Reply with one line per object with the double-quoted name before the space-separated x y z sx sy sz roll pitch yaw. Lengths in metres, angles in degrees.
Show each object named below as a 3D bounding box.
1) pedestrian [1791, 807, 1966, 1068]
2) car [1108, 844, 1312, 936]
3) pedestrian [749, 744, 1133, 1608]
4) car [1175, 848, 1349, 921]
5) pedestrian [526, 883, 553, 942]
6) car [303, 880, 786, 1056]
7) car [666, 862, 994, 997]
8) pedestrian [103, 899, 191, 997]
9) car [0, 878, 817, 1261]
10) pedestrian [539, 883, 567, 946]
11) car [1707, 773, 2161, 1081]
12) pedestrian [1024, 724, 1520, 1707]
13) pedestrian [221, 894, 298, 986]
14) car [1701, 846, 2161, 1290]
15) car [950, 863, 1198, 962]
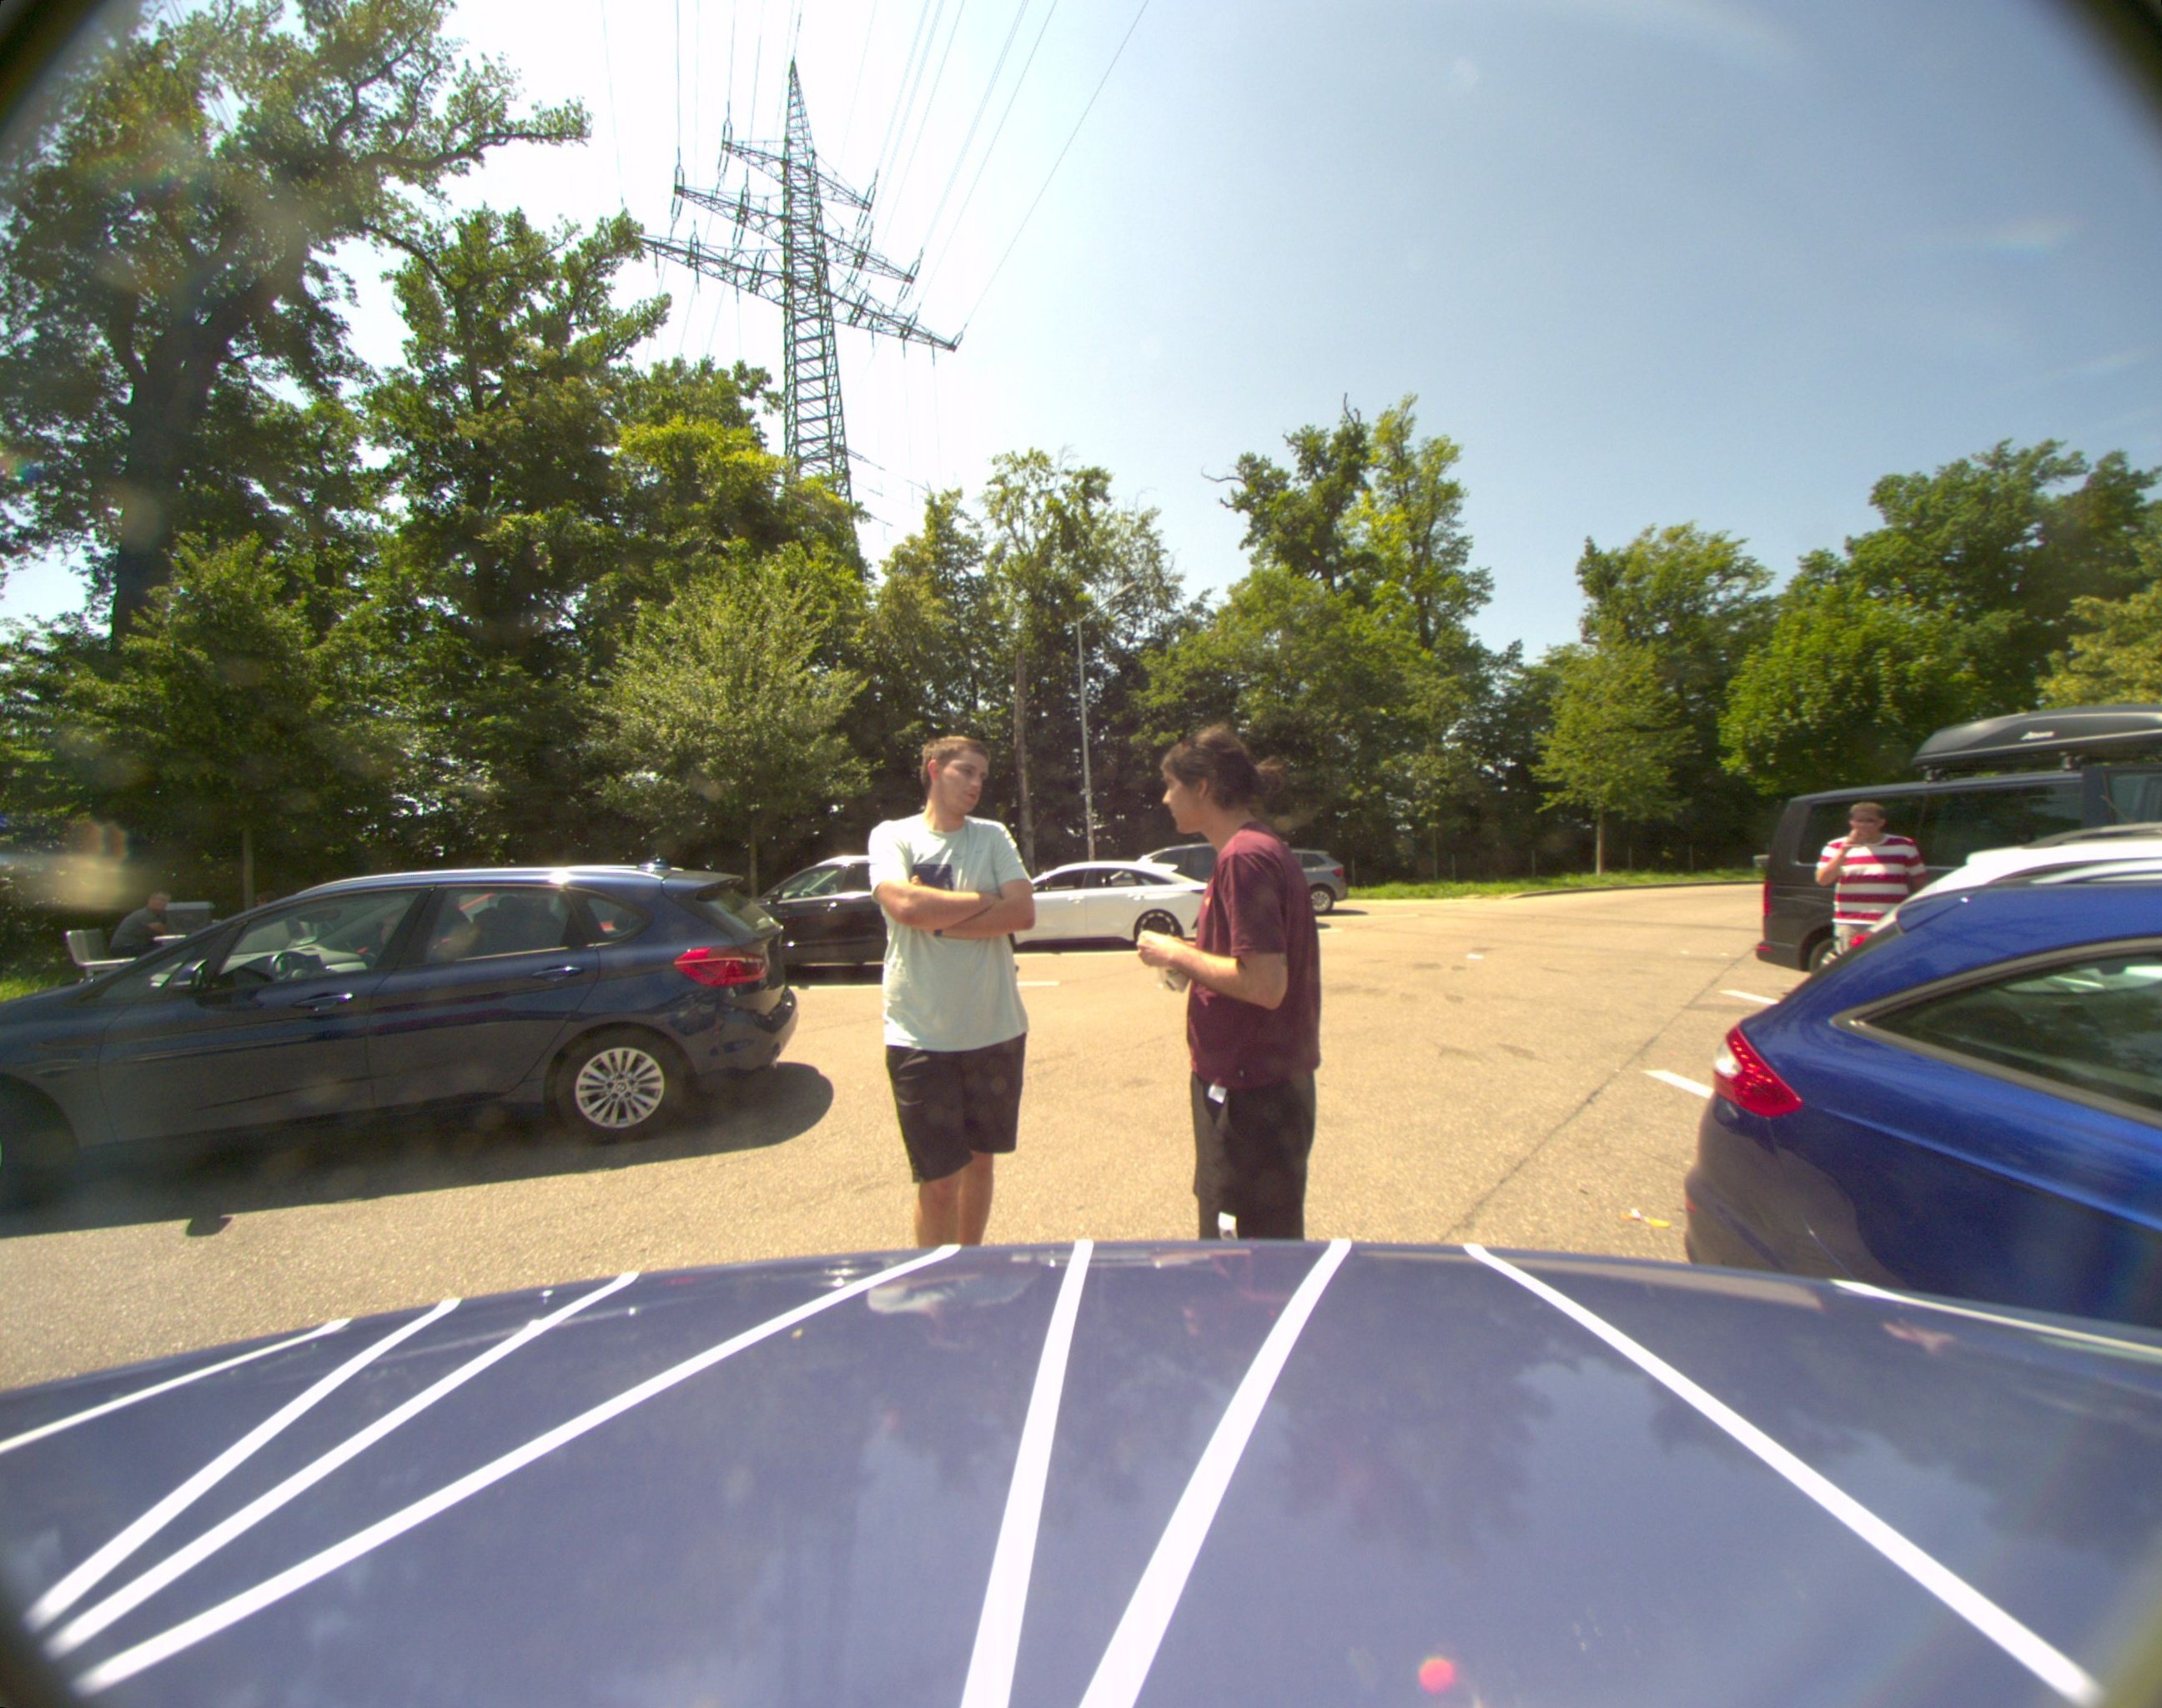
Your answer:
"pedestrian" 5.858 0.551 5.587 0.786 1.744 0.753 -3 1 -34
"car" 2.605 0.708 15.460 3.822 1.686 1.652 -2 1 12
"pedestrian" -0.469 0.715 2.284 0.815 1.939 0.918 -3 1 -28
"car" 4.264 0.705 18.155 3.822 1.551 1.652 -2 1 12
"pedestrian" -11.010 1.182 15.440 0.357 1.158 0.384 -3 2 -41
"car" -5.232 1.087 7.673 3.823 1.460 1.651 -2 1 8
"car" -3.250 0.959 10.302 3.825 1.546 1.651 -2 1 4
"pedestrian" -12.729 1.265 10.374 0.595 1.238 0.446 -3 1 -33
"car" -3.965 1.019 4.529 4.346 1.544 1.746 -2 1 -15
"pedestrian" -10.165 1.159 14.625 0.357 1.158 0.384 -3 2 -41
"car" 7.374 0.414 5.288 1.758 1.886 4.571 -3 -1 -9
"pedestrian" 0.468 0.714 1.933 0.919 1.894 0.815 -2 1 16
"pedestrian" -11.862 1.225 10.987 0.595 1.238 0.499 -3 1 -33
"car" 4.647 0.729 2.256 1.757 1.496 4.574 -3 -1 -1
"car" -0.076 0.930 12.677 3.825 1.394 1.651 -2 1 4
